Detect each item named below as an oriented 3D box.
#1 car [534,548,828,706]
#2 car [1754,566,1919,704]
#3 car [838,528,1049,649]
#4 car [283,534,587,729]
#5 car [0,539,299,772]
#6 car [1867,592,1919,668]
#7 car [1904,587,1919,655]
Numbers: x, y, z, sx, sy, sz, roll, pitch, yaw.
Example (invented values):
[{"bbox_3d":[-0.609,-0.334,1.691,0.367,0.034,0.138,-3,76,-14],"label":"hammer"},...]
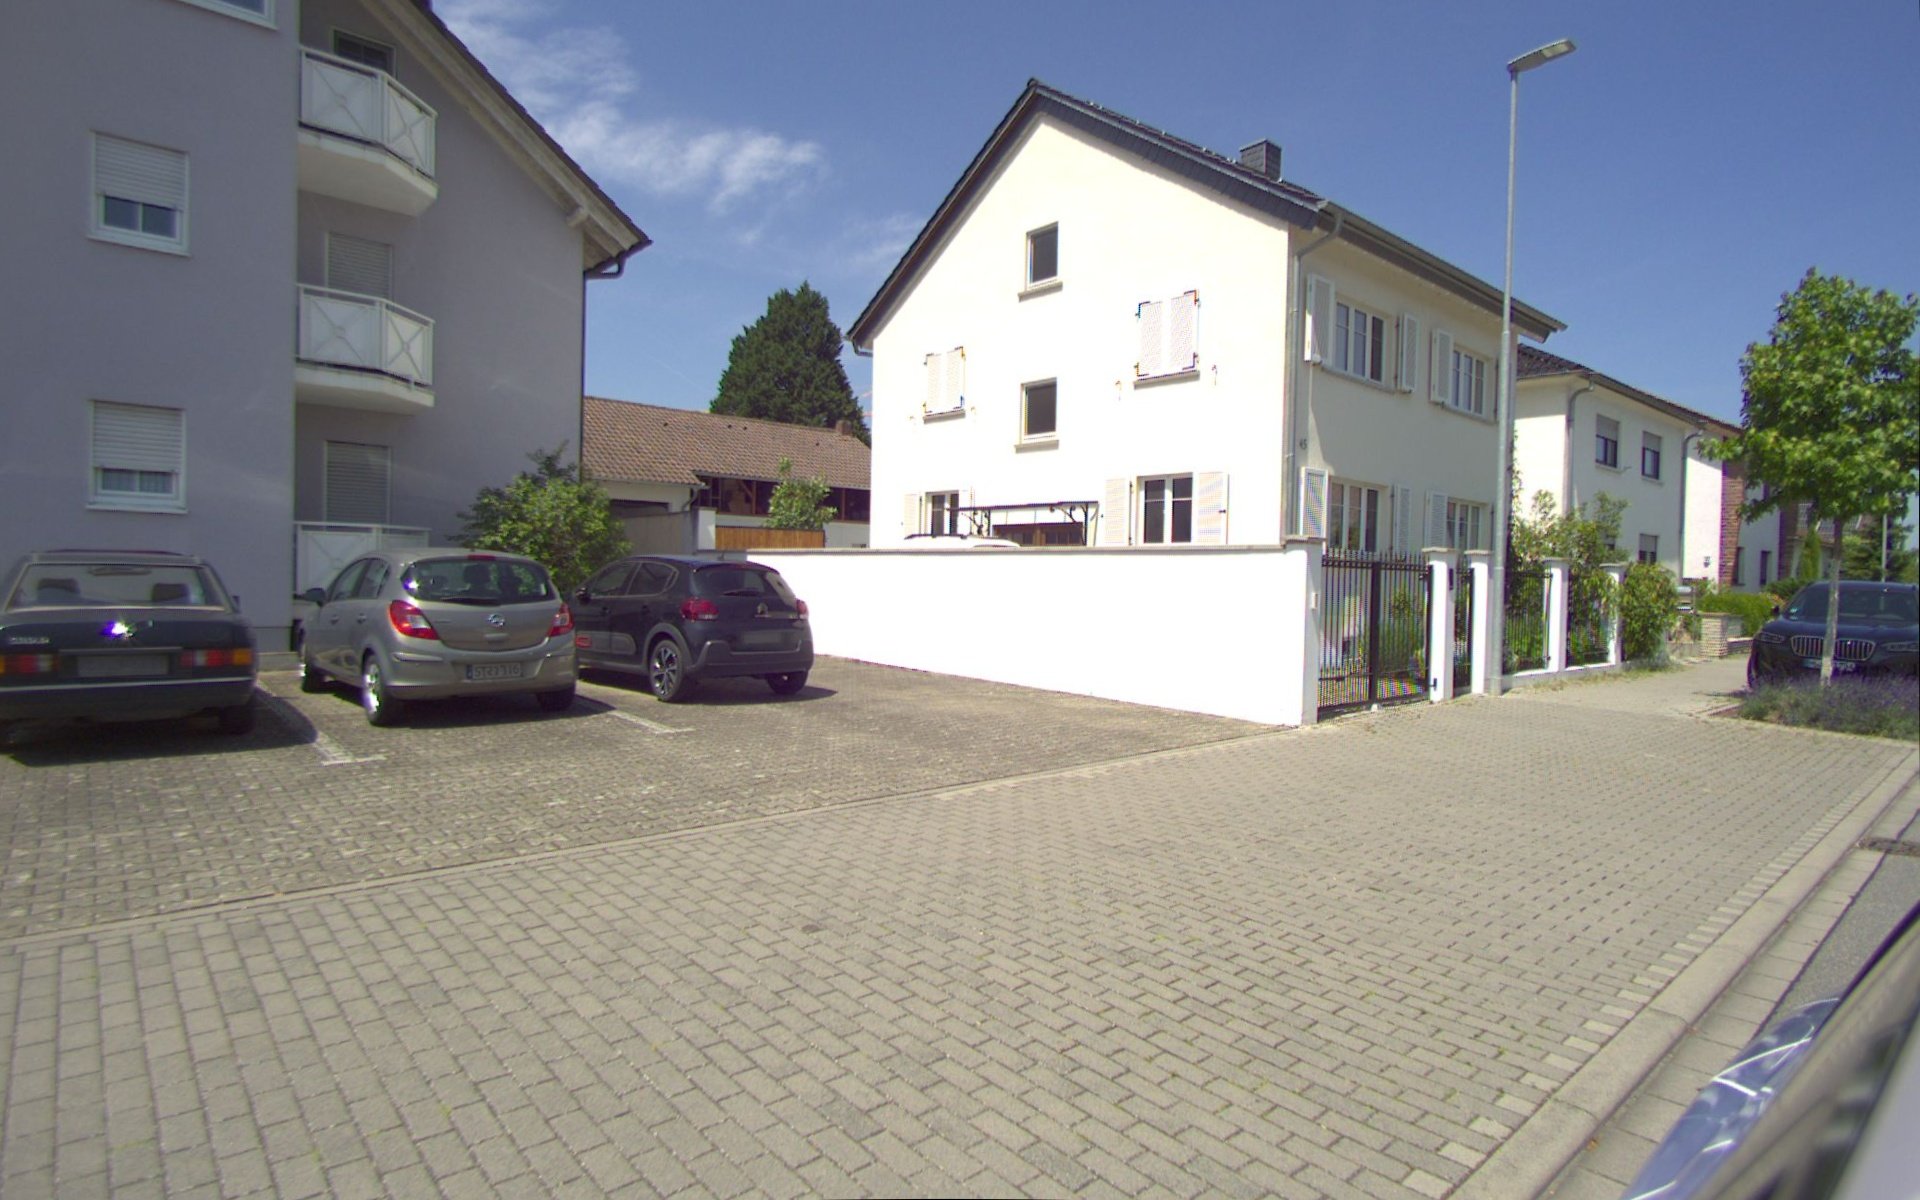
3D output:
[{"bbox_3d":[-3.258,0.196,11.493,3.500,1.515,1.638,3,2,43],"label":"car"},{"bbox_3d":[13.014,0.435,14.451,4.484,1.677,1.818,1,1,-41],"label":"car"},{"bbox_3d":[-0.349,-0.231,17.114,1.741,1.835,3.391,0,2,-42],"label":"car"},{"bbox_3d":[-5.107,0.186,9.654,1.637,1.513,3.447,0,2,-44],"label":"car"},{"bbox_3d":[-6.696,0.259,8.035,1.637,1.391,4.204,0,2,-44],"label":"car"},{"bbox_3d":[19.911,0.589,20.477,4.021,1.437,1.818,0,2,-41],"label":"car"},{"bbox_3d":[23.929,0.494,24.188,4.375,1.552,1.743,0,2,-44],"label":"car"}]
